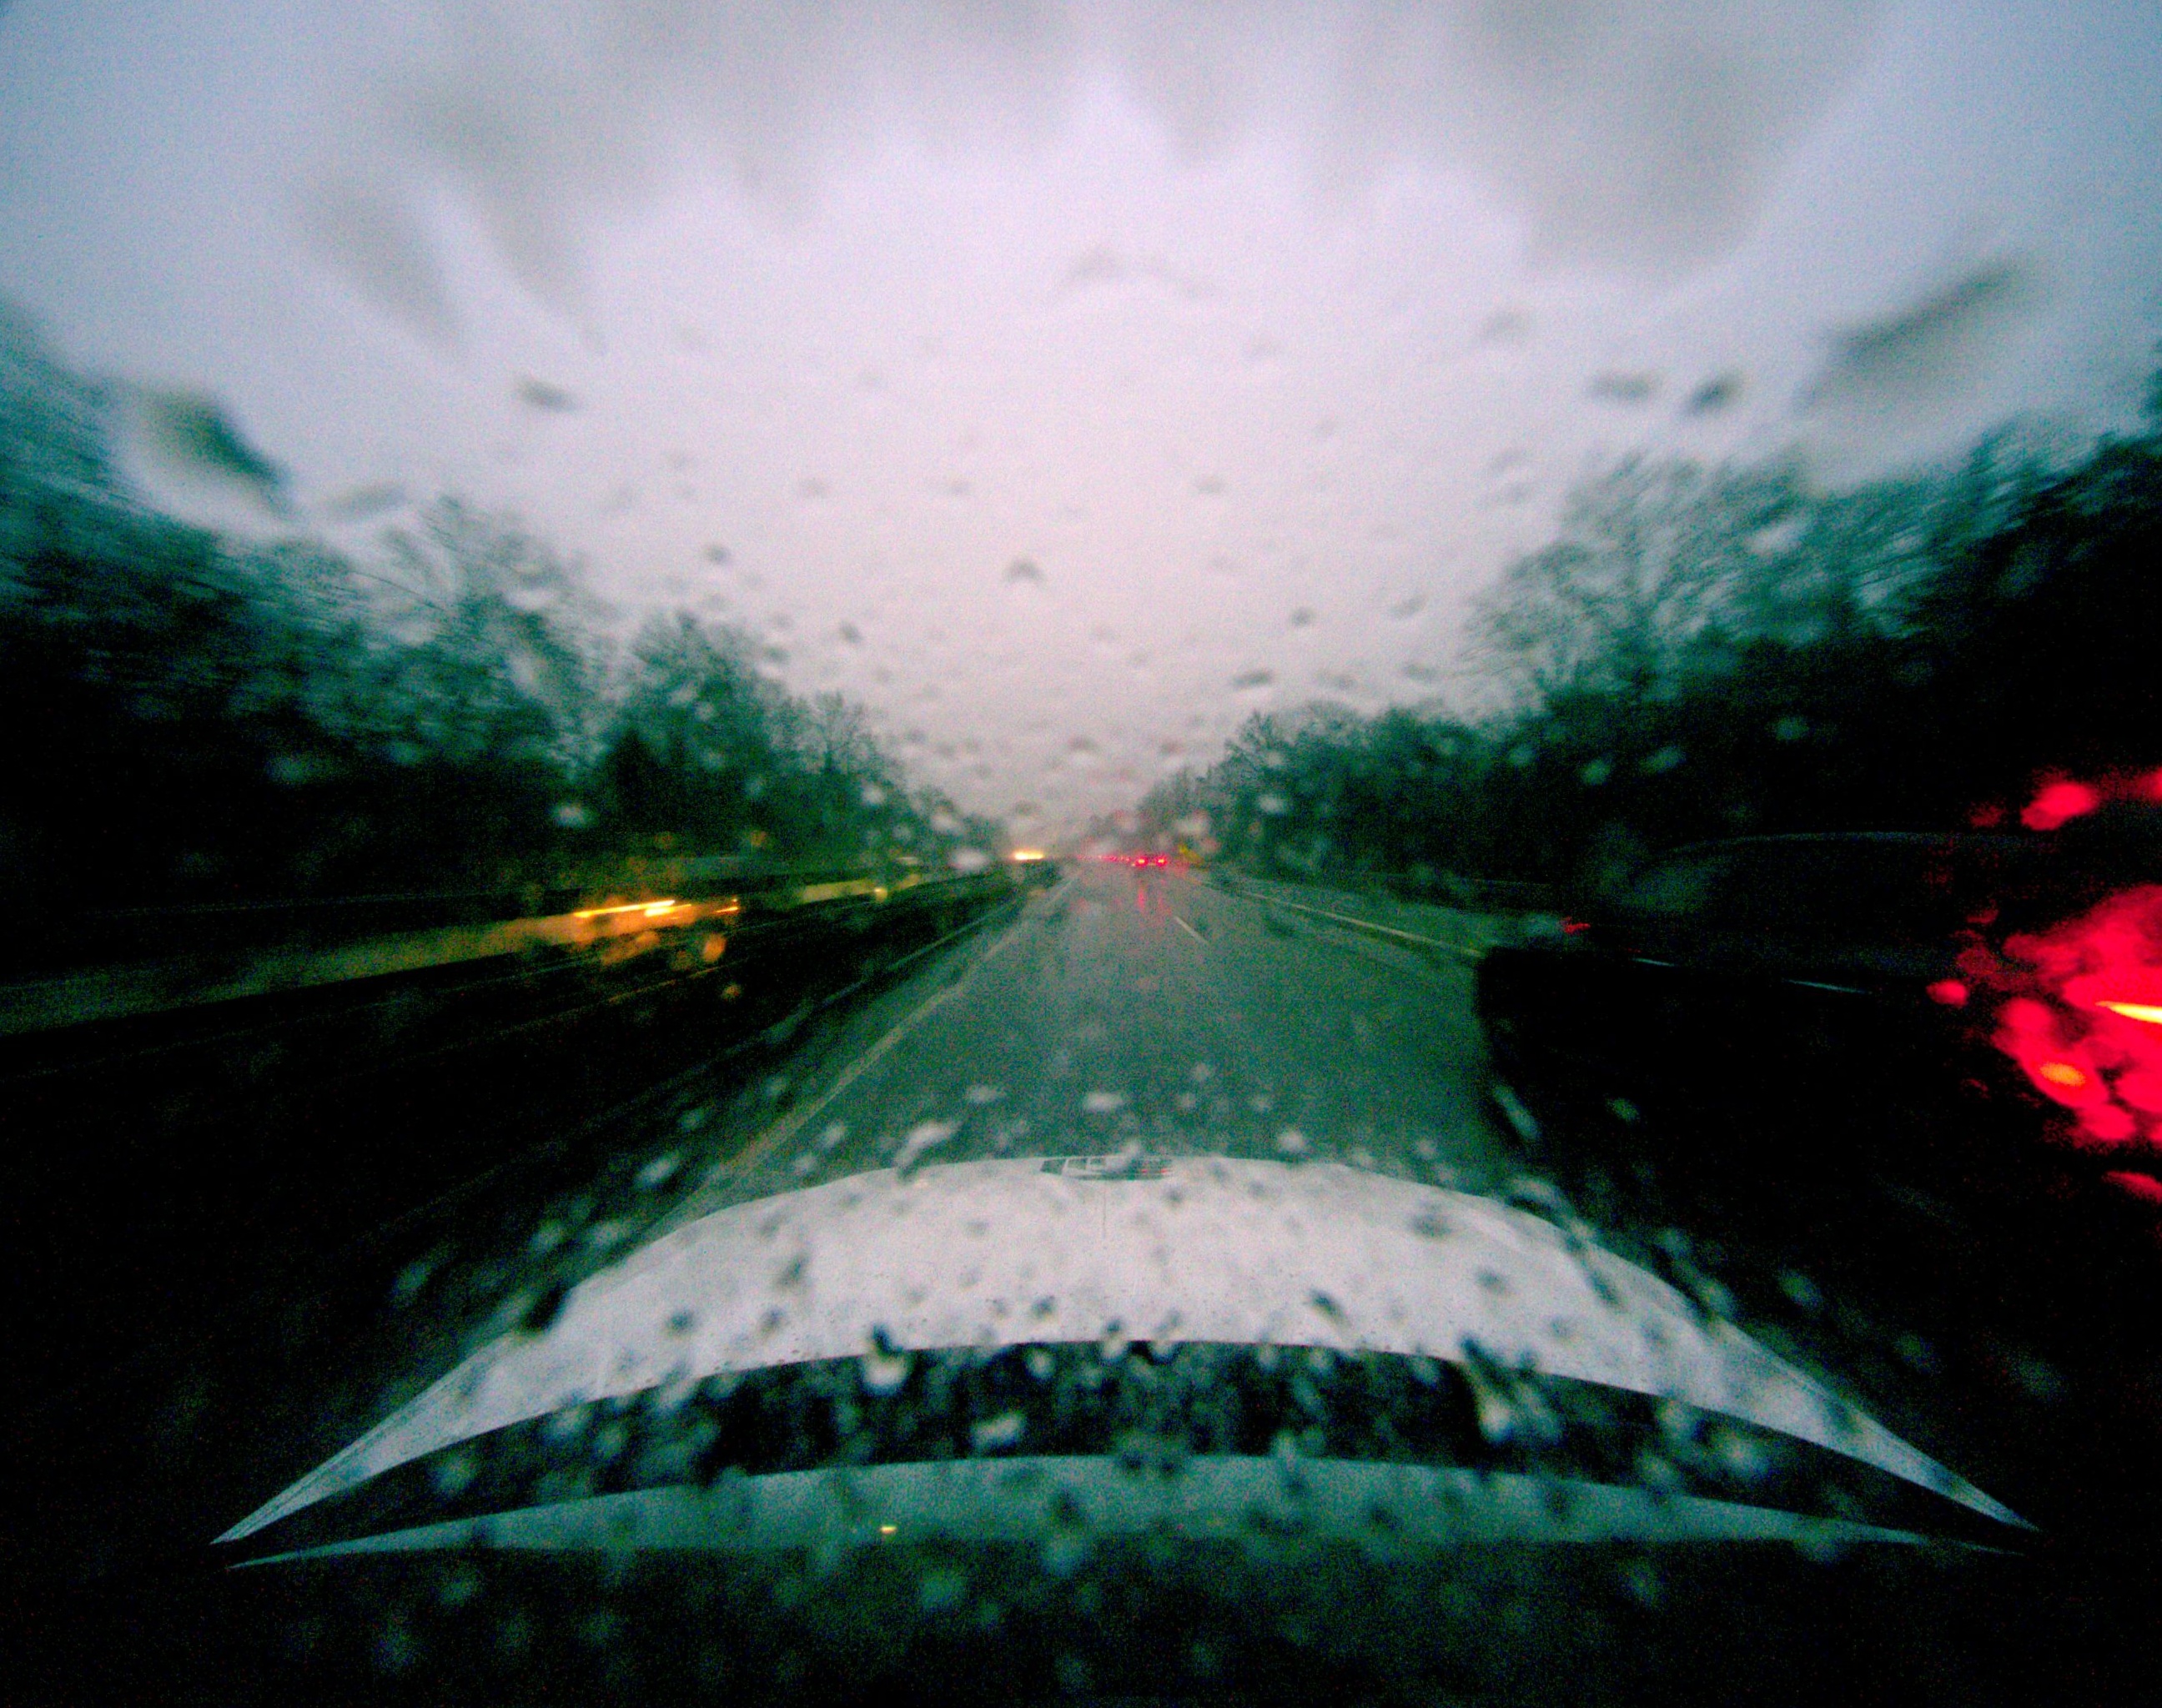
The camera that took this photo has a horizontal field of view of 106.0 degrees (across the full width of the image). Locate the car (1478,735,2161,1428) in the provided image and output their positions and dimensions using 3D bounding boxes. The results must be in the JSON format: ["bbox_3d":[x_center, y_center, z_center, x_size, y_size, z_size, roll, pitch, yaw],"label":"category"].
[{"bbox_3d":[3.789,0.595,3.898,1.917,1.791,3.941,-1,-1,1],"label":"car"}]

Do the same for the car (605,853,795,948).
[{"bbox_3d":[-6.574,0.740,14.493,1.625,1.468,3.525,-1,-1,2],"label":"car"}]

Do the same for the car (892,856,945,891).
[{"bbox_3d":[-8.837,1.036,44.538,1.748,1.835,3.919,-1,-1,6],"label":"car"}]

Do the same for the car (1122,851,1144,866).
[{"bbox_3d":[5.194,0.458,81.590,1.987,1.420,4.000,1,-1,1],"label":"car"}]

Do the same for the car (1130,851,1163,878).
[{"bbox_3d":[4.347,0.708,54.508,1.984,1.715,3.832,-1,-1,2],"label":"car"}]
